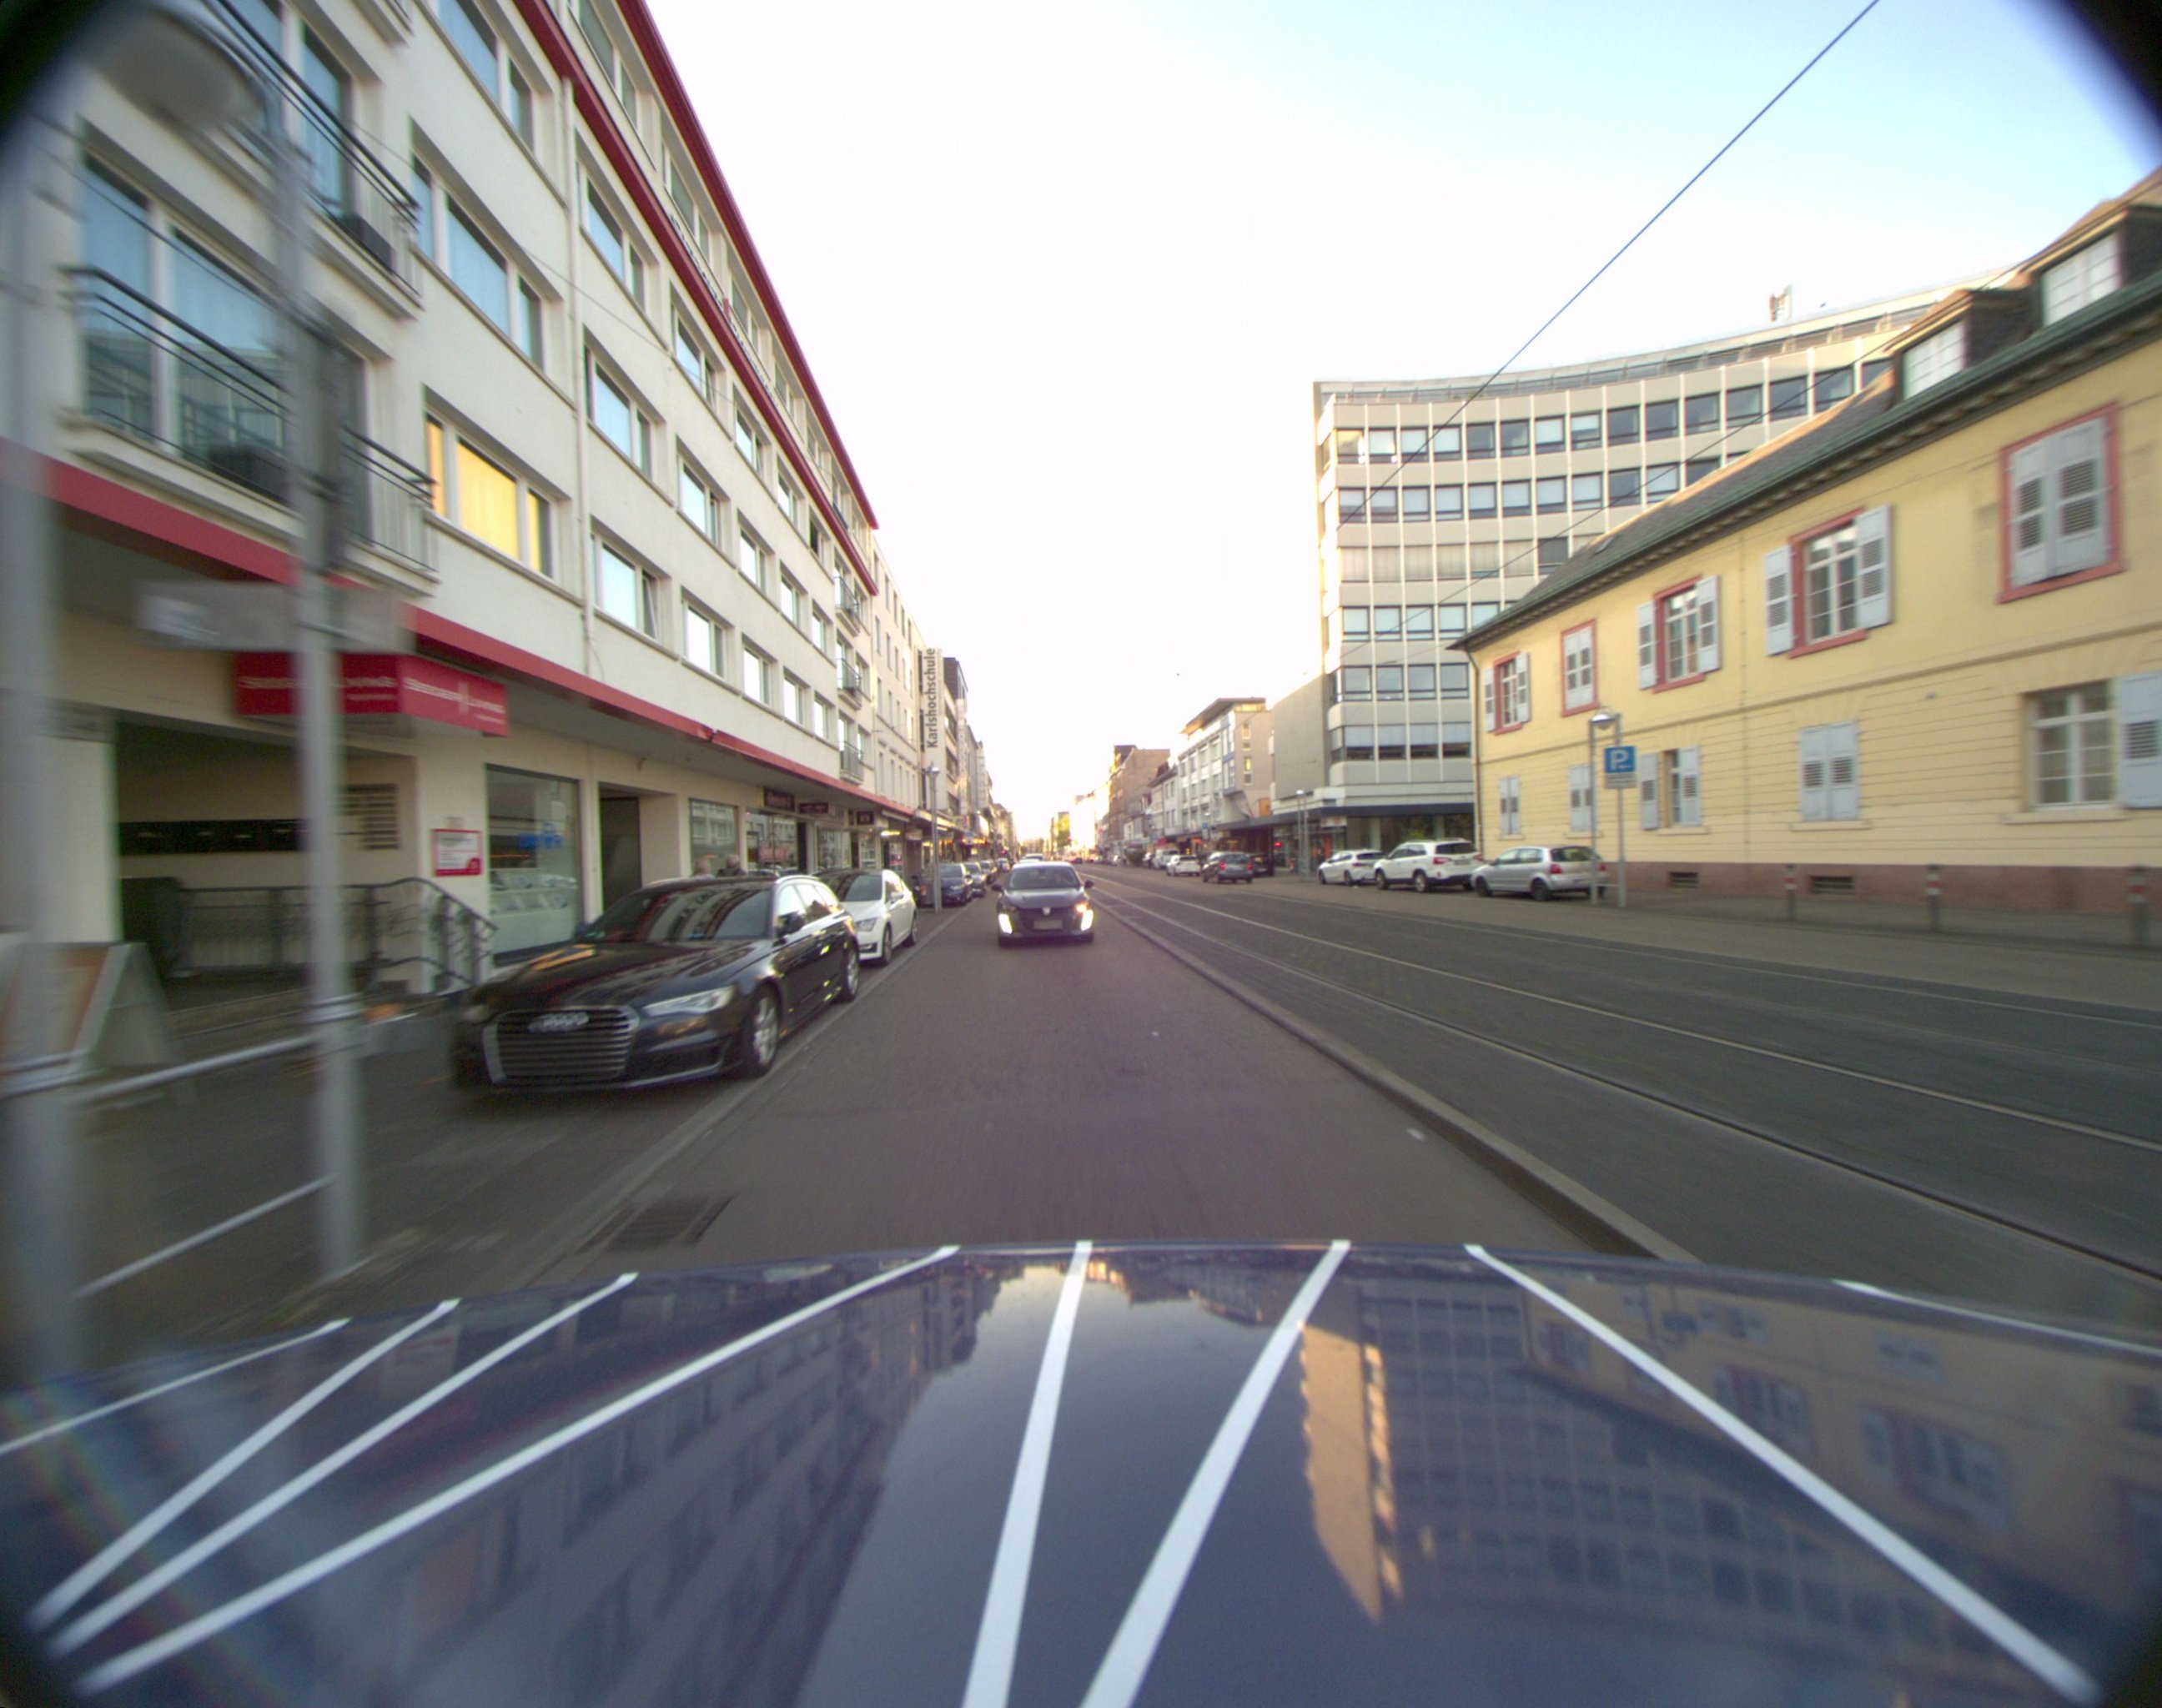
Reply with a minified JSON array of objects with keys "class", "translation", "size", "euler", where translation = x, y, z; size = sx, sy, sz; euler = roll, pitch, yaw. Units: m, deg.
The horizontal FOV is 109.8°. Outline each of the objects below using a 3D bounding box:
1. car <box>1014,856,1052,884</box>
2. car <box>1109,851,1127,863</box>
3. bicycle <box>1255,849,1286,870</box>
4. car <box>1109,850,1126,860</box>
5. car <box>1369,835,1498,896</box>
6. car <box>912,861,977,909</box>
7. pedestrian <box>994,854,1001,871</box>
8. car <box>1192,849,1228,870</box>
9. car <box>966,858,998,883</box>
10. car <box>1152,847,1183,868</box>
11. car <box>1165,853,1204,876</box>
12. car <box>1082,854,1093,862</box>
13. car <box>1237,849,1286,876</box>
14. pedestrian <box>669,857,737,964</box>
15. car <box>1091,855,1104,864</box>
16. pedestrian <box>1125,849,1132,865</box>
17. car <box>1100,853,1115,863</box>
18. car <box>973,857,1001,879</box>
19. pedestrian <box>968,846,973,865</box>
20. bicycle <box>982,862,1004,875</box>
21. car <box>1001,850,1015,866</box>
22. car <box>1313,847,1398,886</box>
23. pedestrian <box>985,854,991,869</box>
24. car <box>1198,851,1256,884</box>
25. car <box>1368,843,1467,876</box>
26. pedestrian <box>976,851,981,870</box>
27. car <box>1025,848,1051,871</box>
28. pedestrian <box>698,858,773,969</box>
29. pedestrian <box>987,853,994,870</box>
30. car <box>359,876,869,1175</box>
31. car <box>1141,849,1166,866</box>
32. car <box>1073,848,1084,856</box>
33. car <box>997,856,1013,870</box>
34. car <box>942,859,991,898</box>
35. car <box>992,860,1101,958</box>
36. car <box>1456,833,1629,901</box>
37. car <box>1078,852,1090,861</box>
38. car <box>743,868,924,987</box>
[{"class":"car","translation":[-2.745,0.863,43.308],"size":[1.999,1.450,3.998],"euler":[-2,0,-4]},{"class":"car","translation":[5.299,0.382,108.580],"size":[1.999,1.535,4.876],"euler":[-3,0,-3]},{"class":"bicycle","translation":[13.738,0.398,55.095],"size":[1.974,1.417,0.833],"euler":[-1,1,-5]},{"class":"car","translation":[5.505,0.145,115.020],"size":[1.914,1.535,4.551],"euler":[-2,0,-4]},{"class":"car","translation":[11.775,0.350,25.758],"size":[1.818,1.775,4.495],"euler":[-3,0,-6]},{"class":"car","translation":[-4.678,1.016,26.605],"size":[1.740,1.503,4.302],"euler":[0,0,-4]},{"class":"pedestrian","translation":[-8.497,0.837,77.195],"size":[0.606,1.717,0.646],"euler":[-1,1,-4]},{"class":"car","translation":[9.528,0.413,56.223],"size":[1.690,1.503,4.213],"euler":[-1,0,-4]},{"class":"car","translation":[-6.226,0.996,47.990],"size":[1.725,1.503,4.166],"euler":[0,0,-4]},{"class":"car","translation":[8.479,0.302,74.751],"size":[1.961,1.965,5.160],"euler":[-1,0,-5]},{"class":"car","translation":[7.023,0.674,51.914],"size":[1.811,1.503,4.033],"euler":[0,0,-5]},{"class":"car","translation":[1.310,0.820,162.620],"size":[1.999,1.543,3.998],"euler":[-2,0,-4]},{"class":"car","translation":[10.813,0.475,45.776],"size":[1.690,1.503,4.213],"euler":[-2,0,-4]},{"class":"pedestrian","translation":[-6.326,0.917,12.768],"size":[0.730,1.731,0.863],"euler":[0,1,-4]},{"class":"car","translation":[3.076,1.015,141.832],"size":[1.999,1.543,4.204],"euler":[-2,0,-4]},{"class":"pedestrian","translation":[6.135,0.420,98.332],"size":[0.823,2.002,0.713],"euler":[-1,1,12]},{"class":"car","translation":[4.489,0.653,129.957],"size":[1.999,1.543,3.998],"euler":[-2,0,-4]},{"class":"car","translation":[-6.736,0.965,54.943],"size":[1.749,1.503,4.256],"euler":[0,0,-4]},{"class":"pedestrian","translation":[-11.305,0.181,77.842],"size":[0.452,1.888,0.421],"euler":[-1,1,-4]},{"class":"bicycle","translation":[-7.460,1.190,64.380],"size":[1.891,1.070,0.676],"euler":[0,0,-7]},{"class":"car","translation":[-11.101,0.594,115.681],"size":[2.046,2.371,5.582],"euler":[-1,0,-5]},{"class":"car","translation":[11.460,0.492,32.022],"size":[1.817,1.503,4.431],"euler":[-1,0,-2]},{"class":"pedestrian","translation":[-12.254,1.027,100.235],"size":[0.712,2.002,0.824],"euler":[-1,1,-5]},{"class":"car","translation":[7.316,0.656,38.553],"size":[1.740,1.503,4.032],"euler":[-2,0,-6]},{"class":"car","translation":[16.344,0.251,37.024],"size":[3.998,1.458,1.846],"euler":[-1,0,-2]},{"class":"pedestrian","translation":[-10.360,0.665,76.975],"size":[0.456,1.888,0.421],"euler":[-1,1,-4]},{"class":"car","translation":[-3.701,0.451,64.688],"size":[1.999,1.805,3.998],"euler":[-2,0,-5]},{"class":"pedestrian","translation":[-5.492,0.917,12.125],"size":[0.829,1.708,0.842],"euler":[0,1,-4]},{"class":"pedestrian","translation":[-9.169,0.788,77.176],"size":[0.610,1.743,0.605],"euler":[-1,1,-4]},{"class":"car","translation":[-3.231,1.012,6.569],"size":[1.740,1.503,4.684],"euler":[0,0,-4]},{"class":"car","translation":[7.815,0.382,82.093],"size":[1.863,1.711,4.525],"euler":[-1,0,-5]},{"class":"car","translation":[-0.564,-0.470,155.494],"size":[1.999,1.543,3.998],"euler":[-2,0,-4]},{"class":"car","translation":[-8.801,1.023,88.000],"size":[1.682,1.534,3.884],"euler":[0,0,-3]},{"class":"car","translation":[-4.842,0.989,32.746],"size":[1.795,1.503,4.709],"euler":[0,0,-5]},{"class":"car","translation":[-0.757,0.924,14.796],"size":[1.733,1.513,4.331],"euler":[-3,0,-5]},{"class":"car","translation":[12.373,0.319,20.752],"size":[1.818,1.608,4.212],"euler":[-2,0,-6]},{"class":"car","translation":[0.477,0.490,146.953],"size":[1.999,1.543,3.998],"euler":[-2,0,-4]},{"class":"car","translation":[-3.734,1.016,12.232],"size":[1.790,1.503,4.050],"euler":[0,0,-4]}]
